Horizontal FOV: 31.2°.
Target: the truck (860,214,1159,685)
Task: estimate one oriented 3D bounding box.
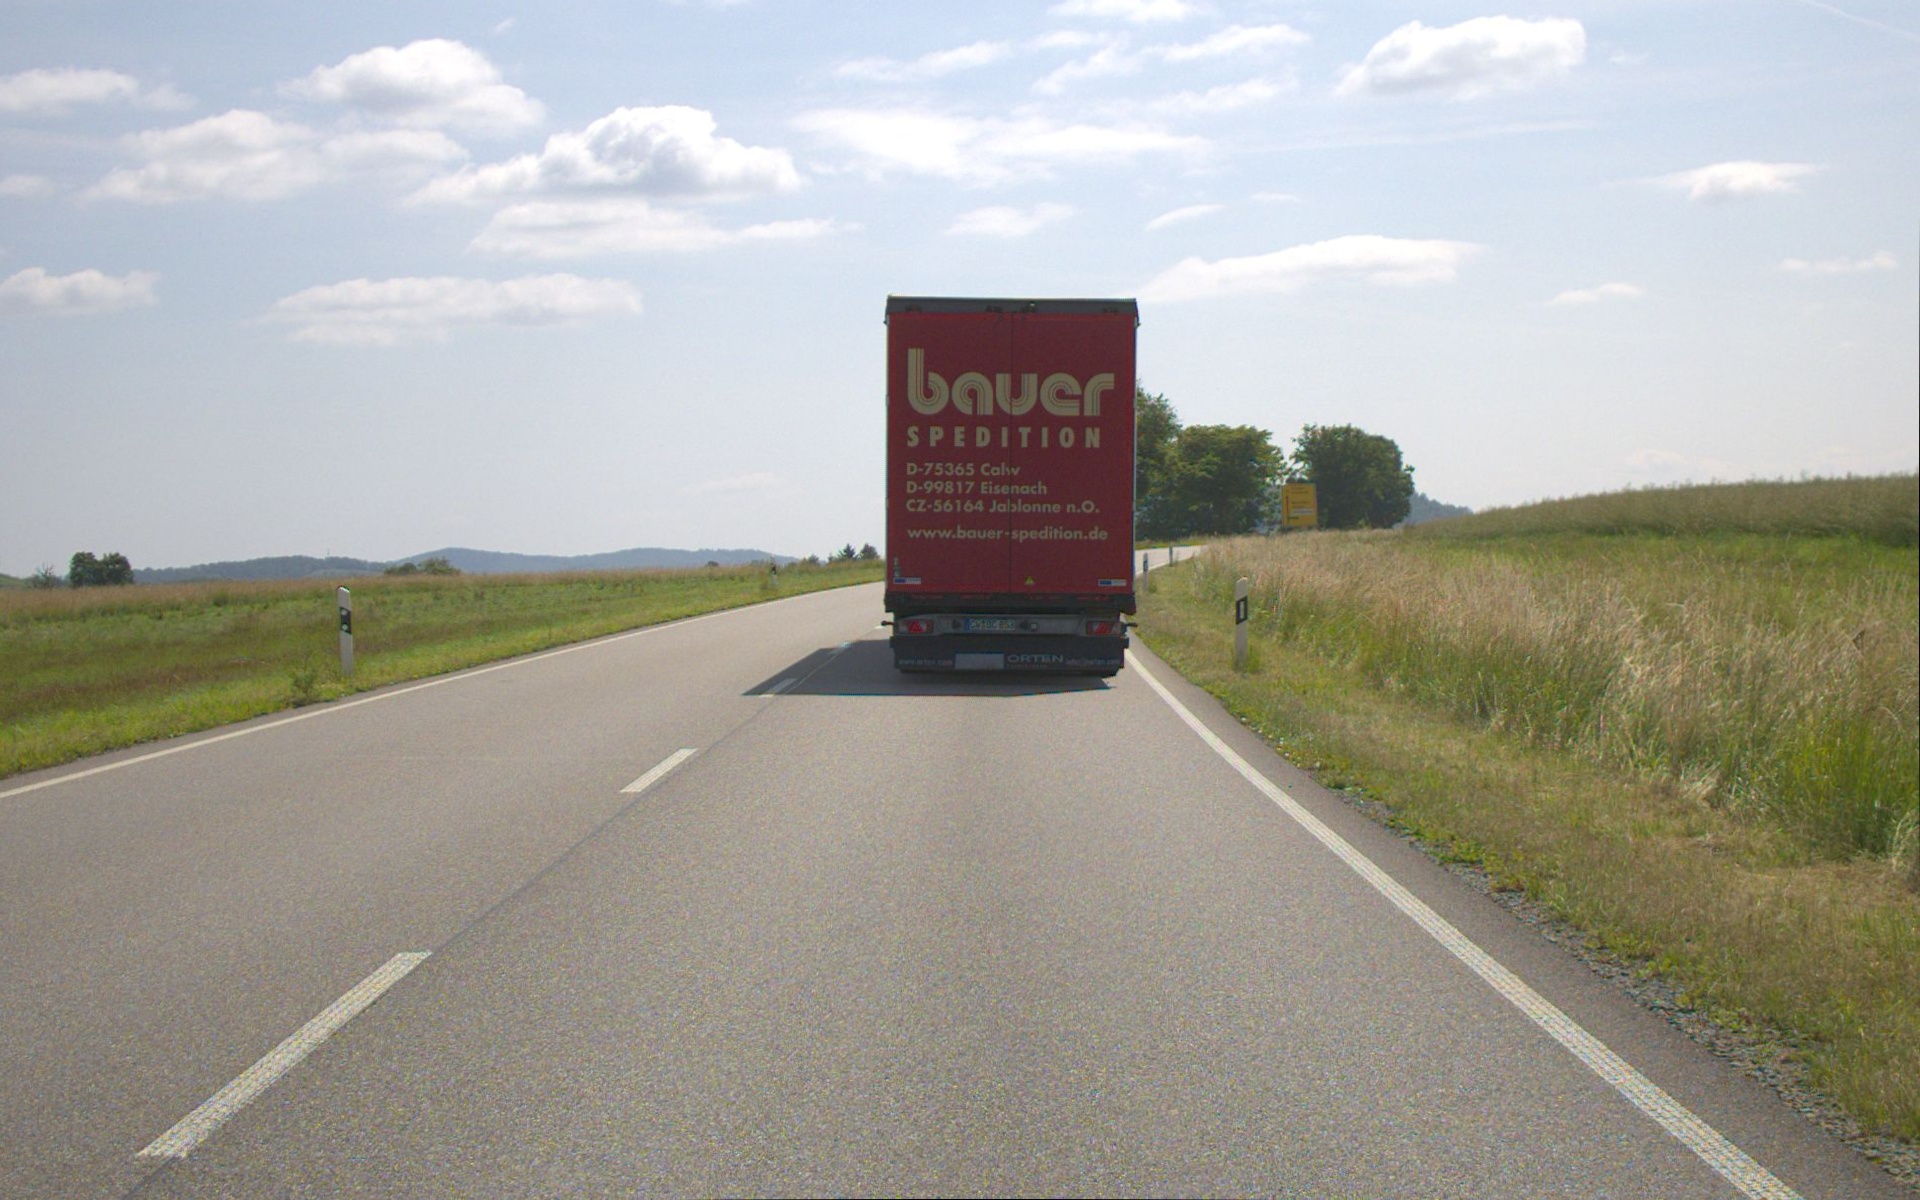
[{"bbox_3d":[0.659,-1.608,39.064,2.975,4.697,9.366,0,1,2],"label":"truck"}]
